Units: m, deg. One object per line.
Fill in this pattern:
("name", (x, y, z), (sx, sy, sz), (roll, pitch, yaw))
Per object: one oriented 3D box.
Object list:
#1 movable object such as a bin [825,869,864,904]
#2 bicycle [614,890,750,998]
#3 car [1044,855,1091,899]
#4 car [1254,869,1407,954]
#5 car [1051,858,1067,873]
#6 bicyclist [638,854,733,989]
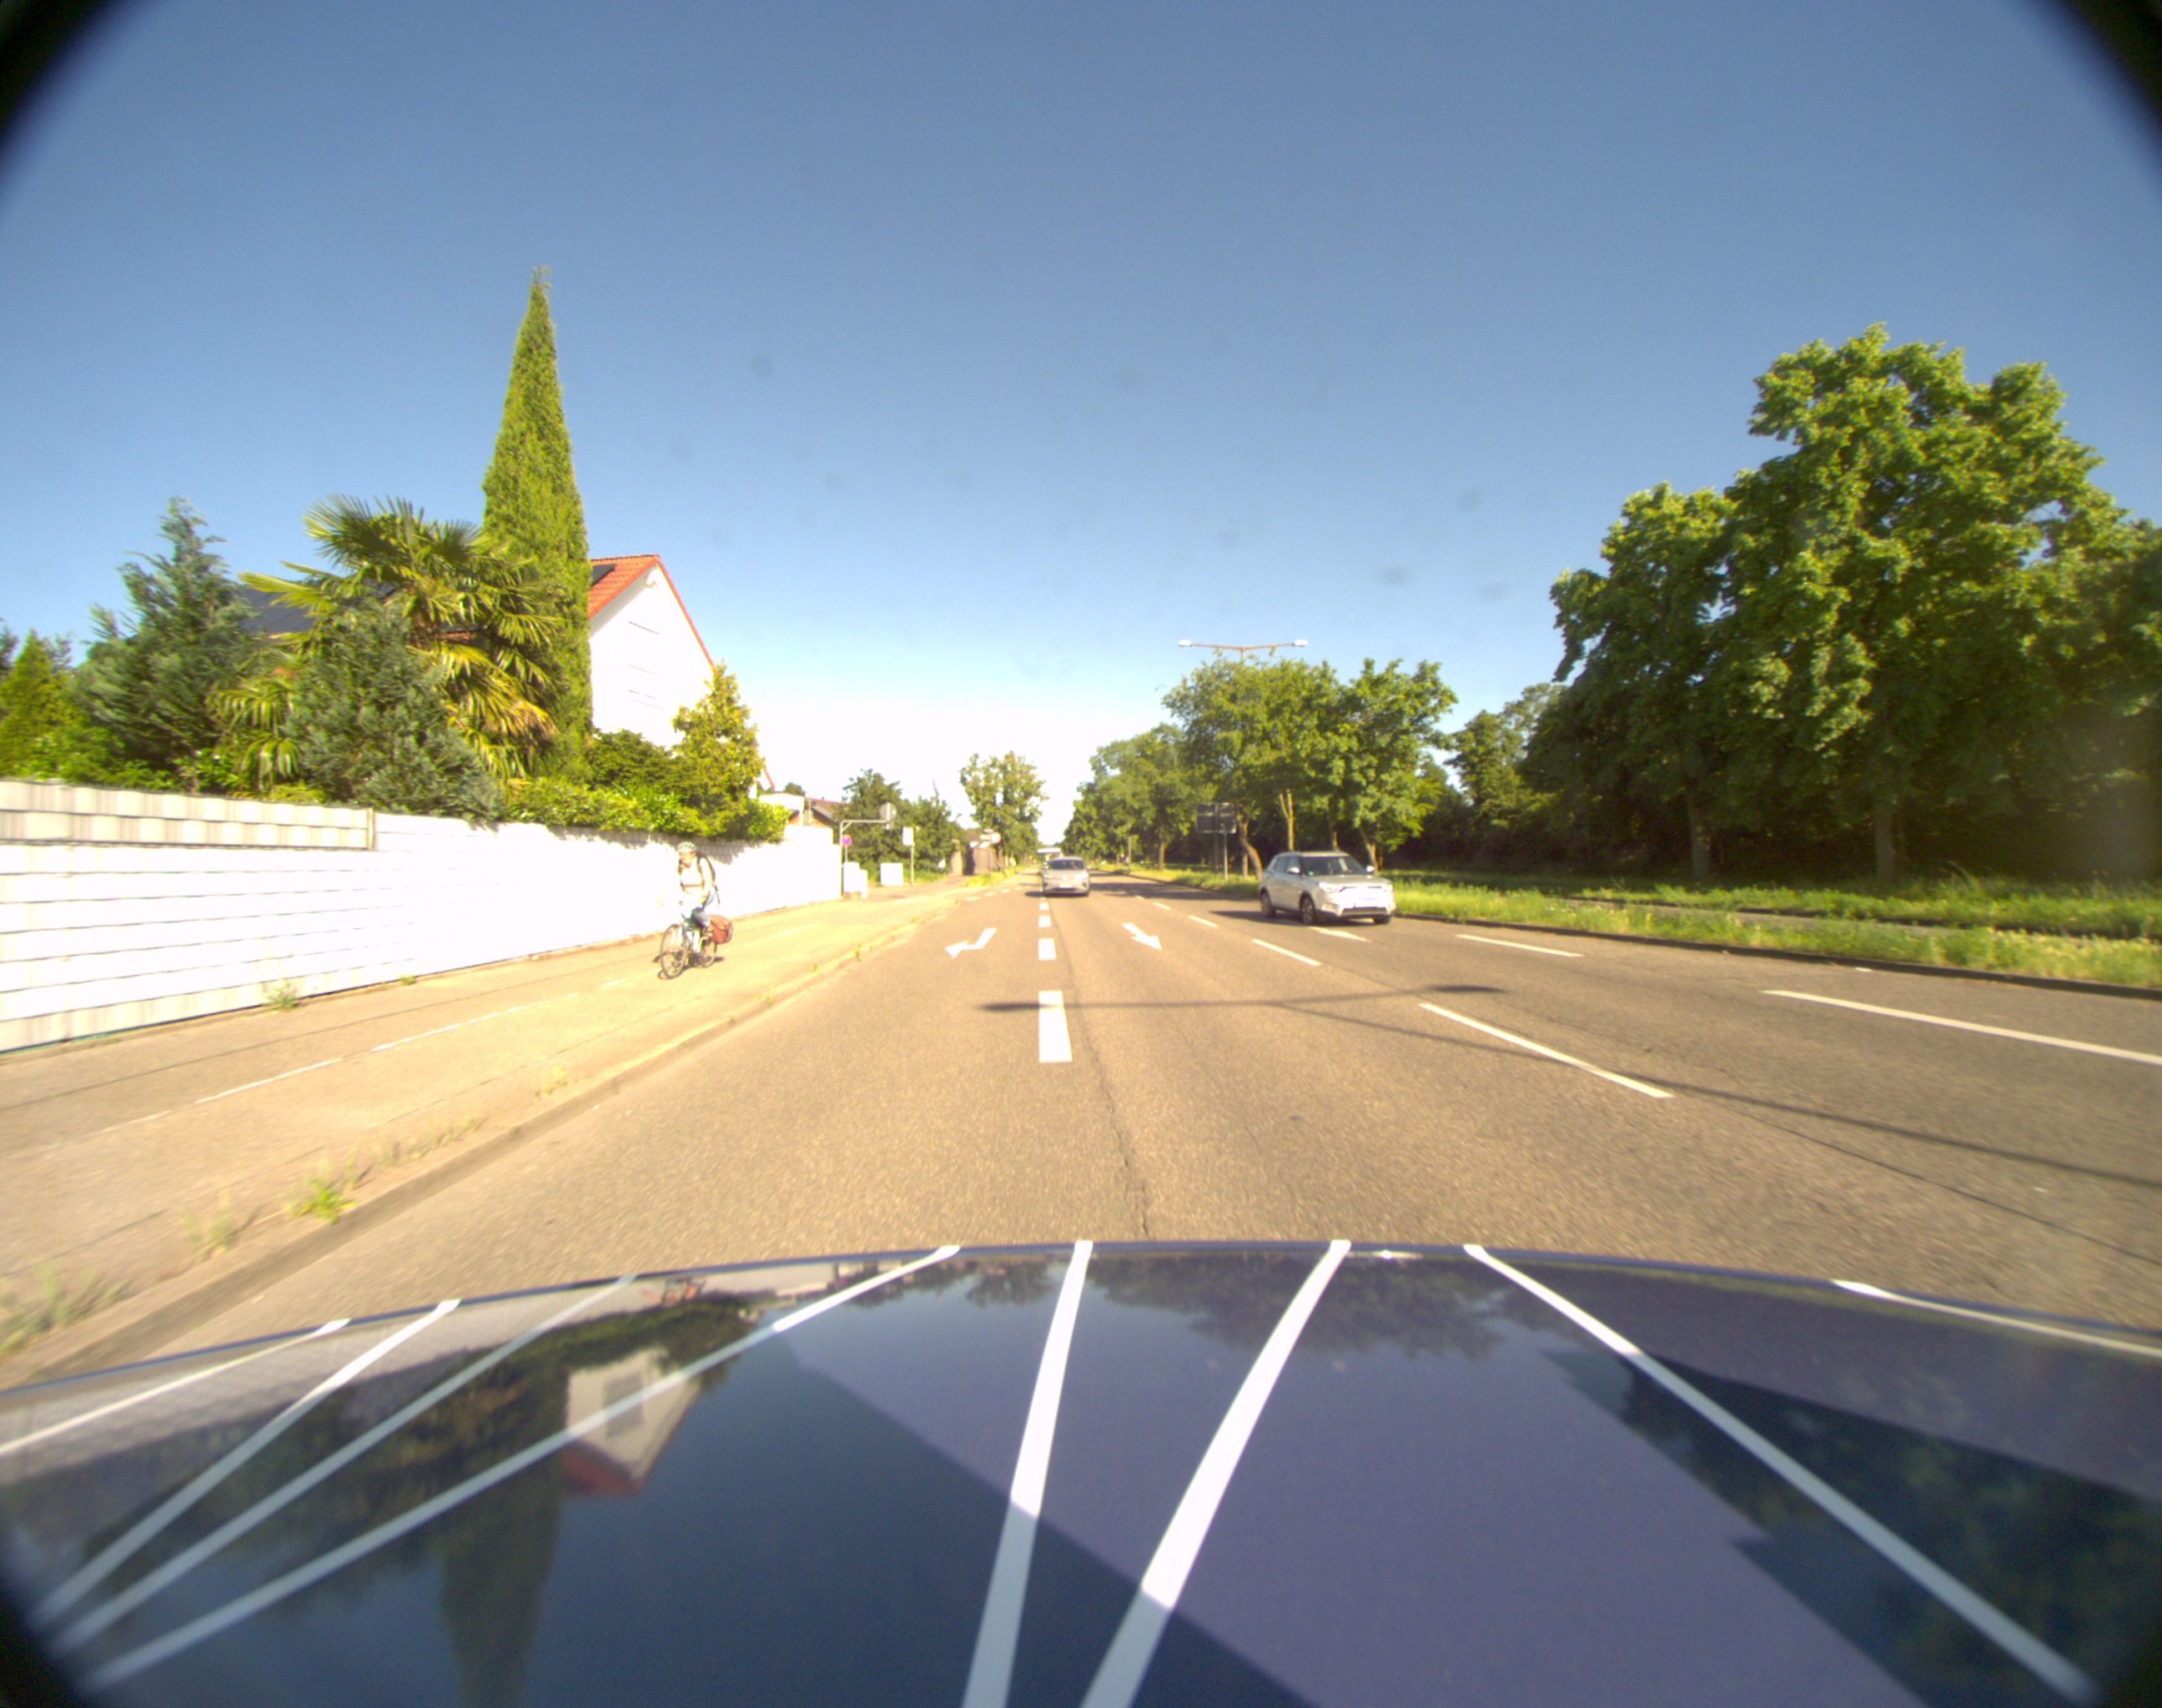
("movable object such as a bin", (-8.584, 1.184, 27.653), (1.004, 1.198, 1.063), (1, 1, 4))
("bicycle", (-5.041, 1.083, 9.781), (0.575, 1.148, 2.141), (3, -1, 0))
("car", (-0.629, 0.894, 31.812), (1.766, 1.606, 4.296), (-2, 0, -3))
("car", (5.441, 1.188, 17.154), (1.790, 1.600, 4.104), (0, 0, -6))
("car", (-2.566, 1.348, 88.216), (1.766, 1.606, 4.296), (-2, 0, -3))
("bicyclist", (-5.072, 0.835, 9.799), (0.631, 1.623, 0.982), (3, -1, 0))
